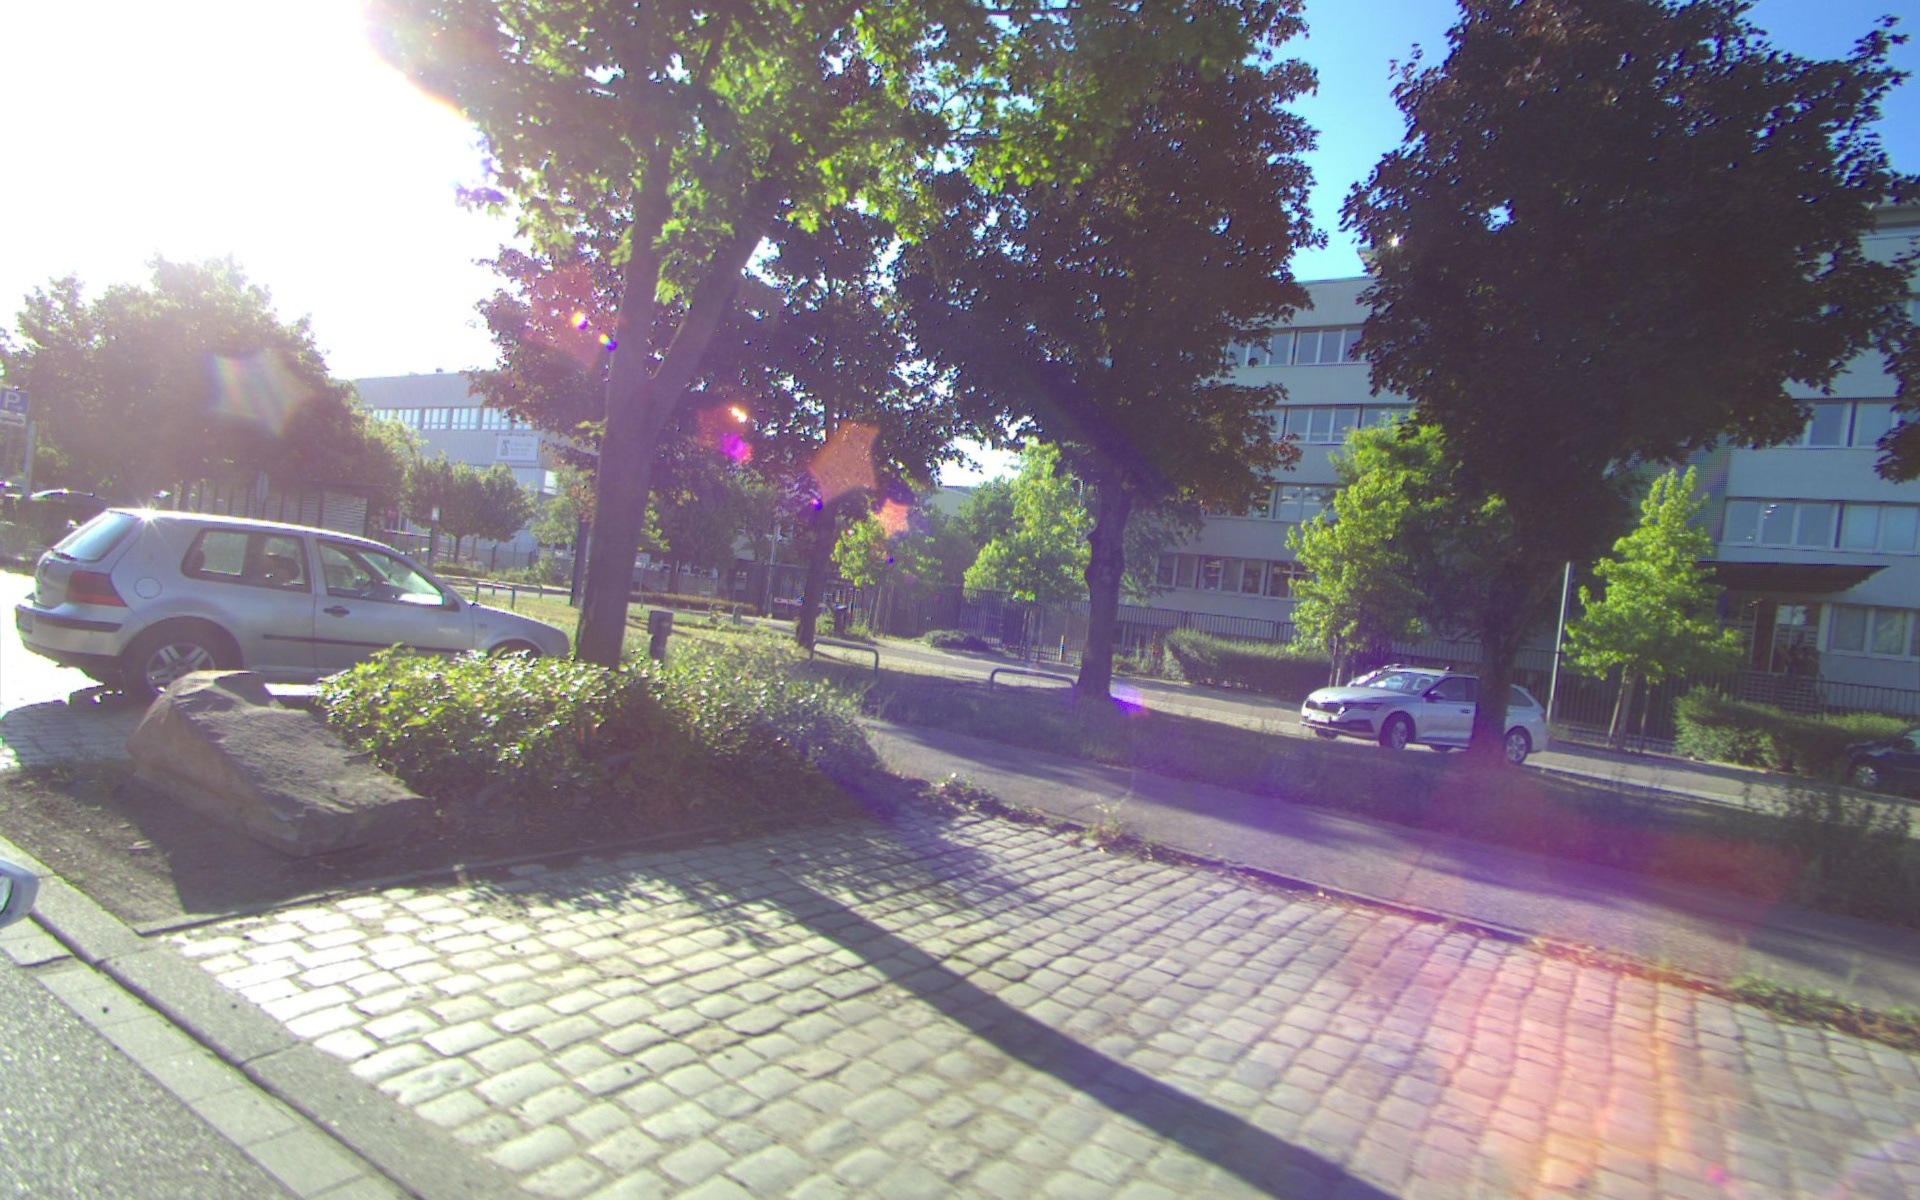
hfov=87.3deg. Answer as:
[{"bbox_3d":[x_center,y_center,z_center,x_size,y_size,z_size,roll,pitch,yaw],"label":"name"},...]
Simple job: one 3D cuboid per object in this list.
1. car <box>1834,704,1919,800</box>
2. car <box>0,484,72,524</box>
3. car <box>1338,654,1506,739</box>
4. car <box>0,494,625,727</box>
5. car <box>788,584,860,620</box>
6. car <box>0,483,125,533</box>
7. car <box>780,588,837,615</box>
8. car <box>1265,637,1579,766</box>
[{"bbox_3d":[20.787,3.354,20.319,1.738,1.771,4.486,7,0,-10],"label":"car"},{"bbox_3d":[-51.419,-5.328,54.637,1.968,1.726,4.360,8,0,35],"label":"car"},{"bbox_3d":[11.760,2.414,25.958,1.737,1.546,4.297,7,0,-8],"label":"car"},{"bbox_3d":[-5.466,0.114,8.795,1.972,1.498,4.350,7,1,40],"label":"car"},{"bbox_3d":[-7.733,0.092,57.186,3.764,1.549,1.619,7,0,33],"label":"car"},{"bbox_3d":[-45.212,-4.596,50.592,2.025,1.726,4.434,7,0,32],"label":"car"},{"bbox_3d":[-11.077,0.092,73.454,3.723,1.415,1.867,7,0,33],"label":"car"},{"bbox_3d":[8.068,1.769,17.604,4.884,1.593,1.991,7,0,-20],"label":"car"}]
